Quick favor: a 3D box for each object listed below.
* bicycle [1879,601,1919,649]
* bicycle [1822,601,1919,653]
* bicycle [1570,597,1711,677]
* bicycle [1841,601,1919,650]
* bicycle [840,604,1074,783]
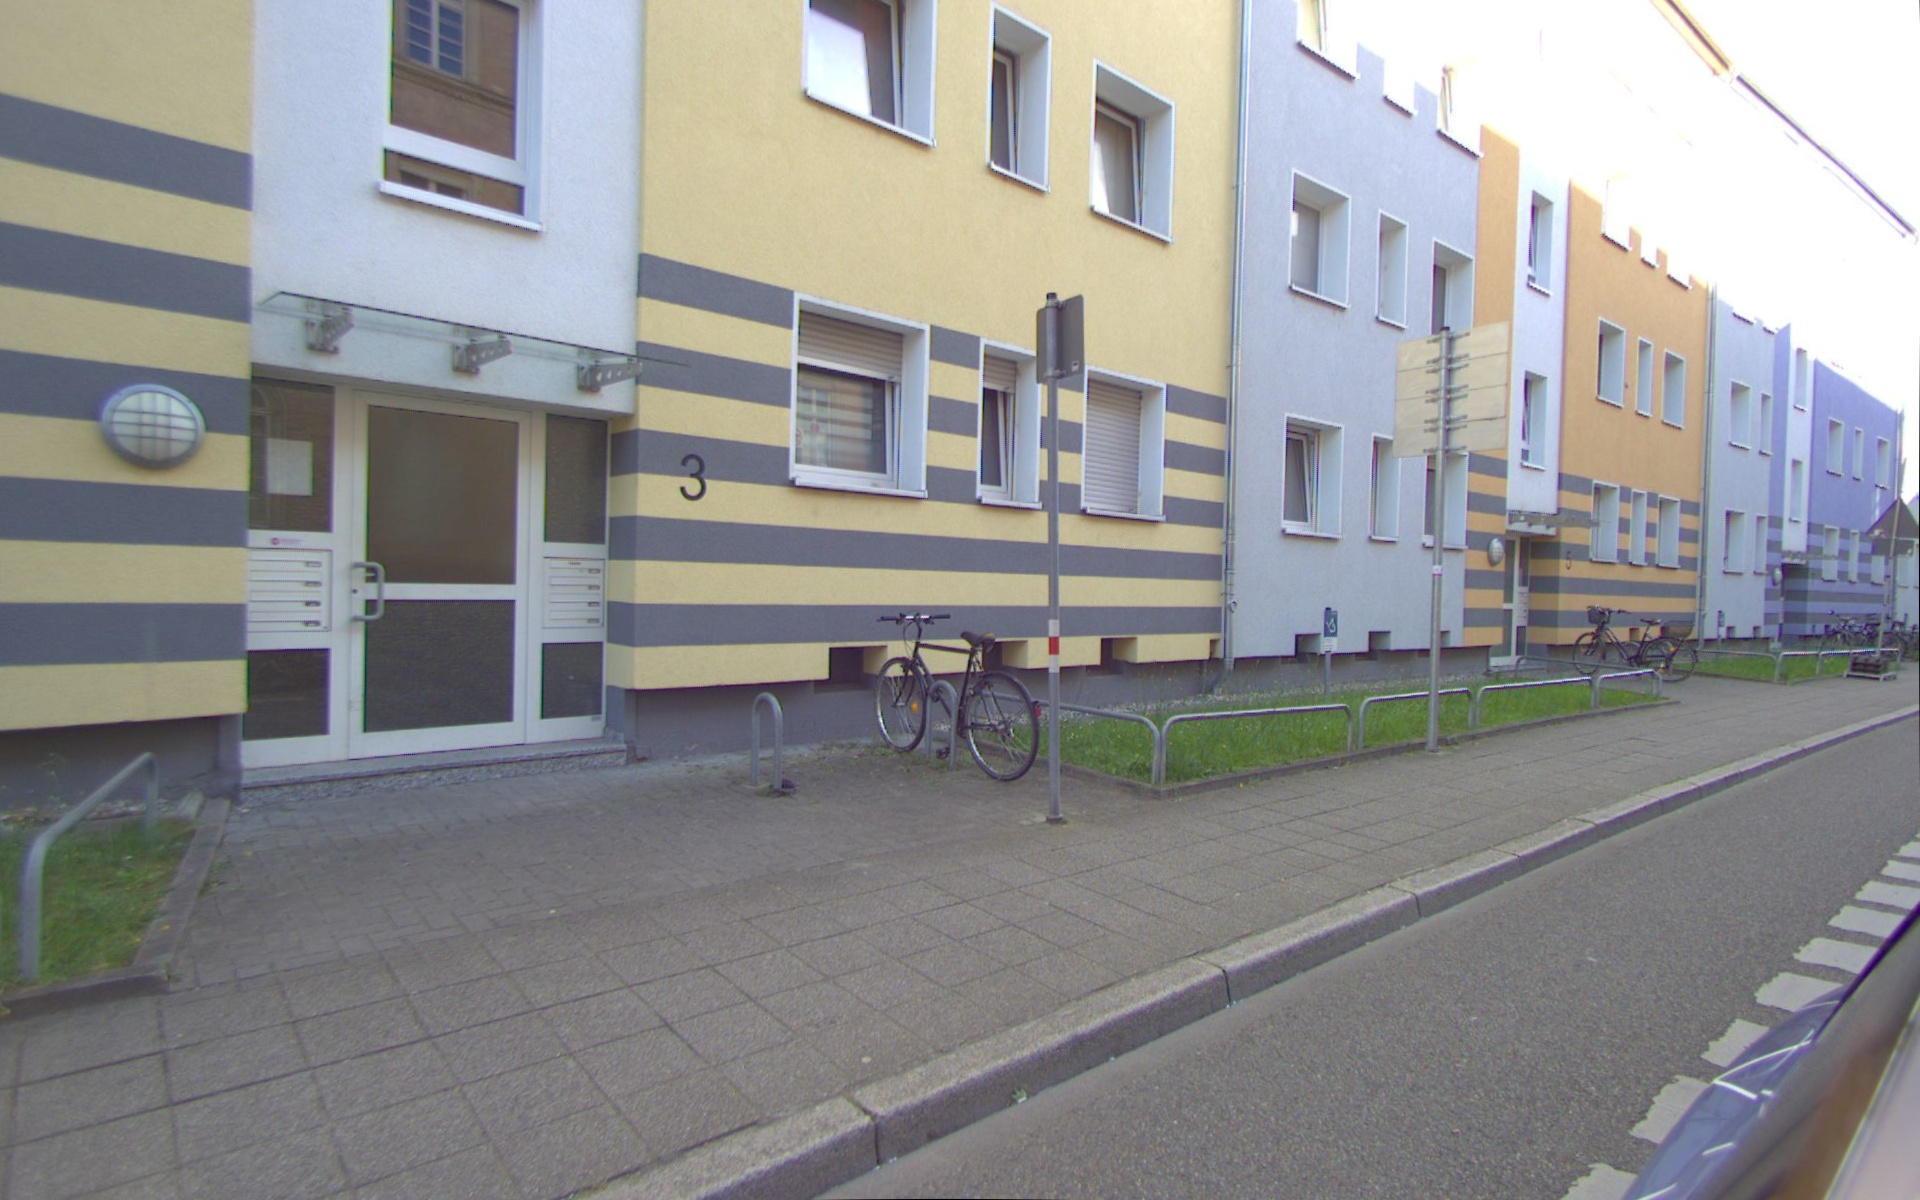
[{"bbox_3d":[24.133,0.641,25.271,0.475,1.166,1.678,1,1,-37],"label":"bicycle"},{"bbox_3d":[22.225,0.647,24.722,0.475,1.166,1.678,1,1,-37],"label":"bicycle"},{"bbox_3d":[10.686,0.551,15.939,1.775,1.137,0.476,3,1,44],"label":"bicycle"},{"bbox_3d":[23.306,0.630,25.414,0.475,1.166,1.678,1,1,-37],"label":"bicycle"},{"bbox_3d":[-0.075,0.579,7.010,1.775,1.031,0.476,3,1,44],"label":"bicycle"}]
